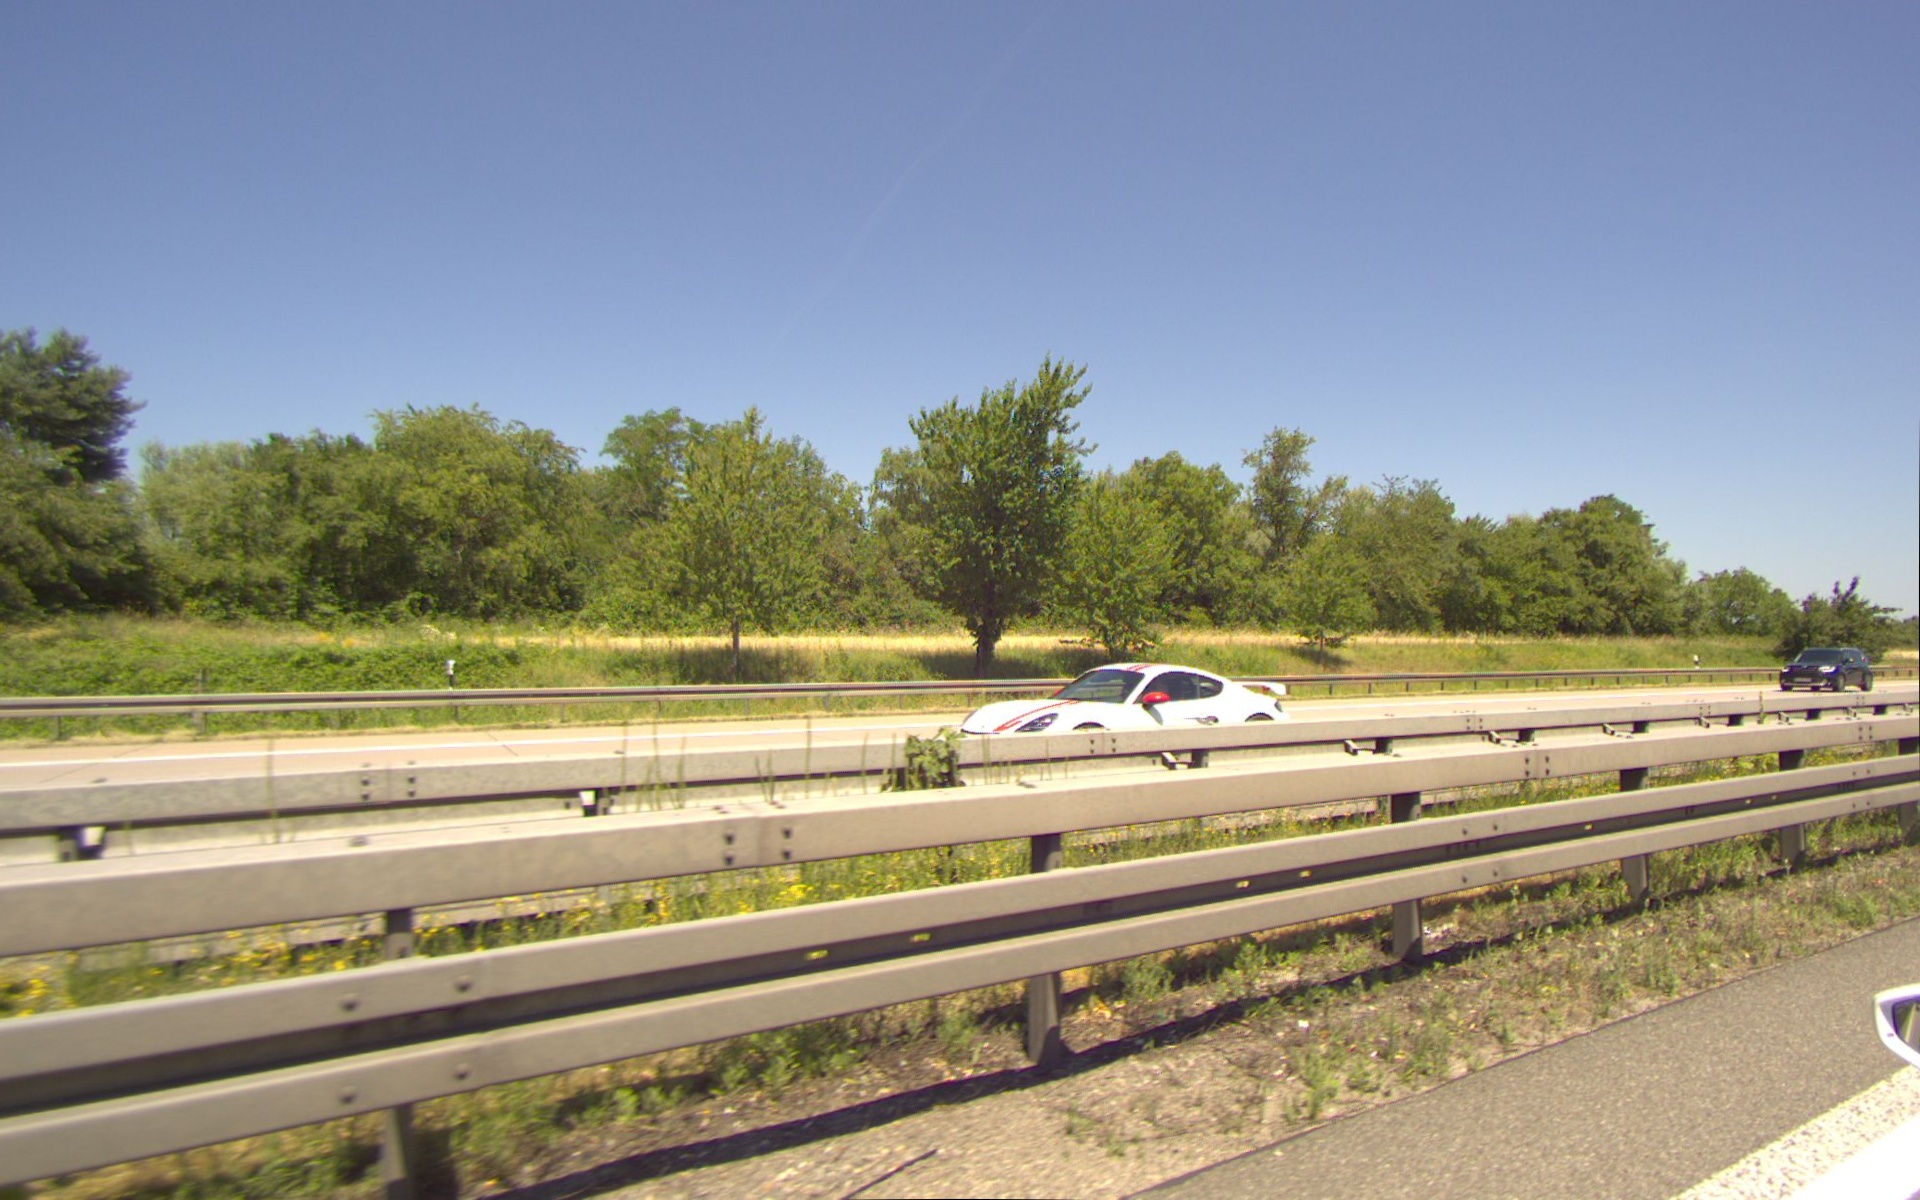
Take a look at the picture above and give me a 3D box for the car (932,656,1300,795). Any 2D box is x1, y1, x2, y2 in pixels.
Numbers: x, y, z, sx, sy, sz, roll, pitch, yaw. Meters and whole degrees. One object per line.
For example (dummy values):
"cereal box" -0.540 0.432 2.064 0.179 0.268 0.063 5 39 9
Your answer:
"car" 1.836 1.320 11.521 4.036 1.331 1.681 2 -4 -30

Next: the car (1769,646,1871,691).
"car" 32.459 2.556 37.884 3.857 1.614 1.725 2 -4 -30
